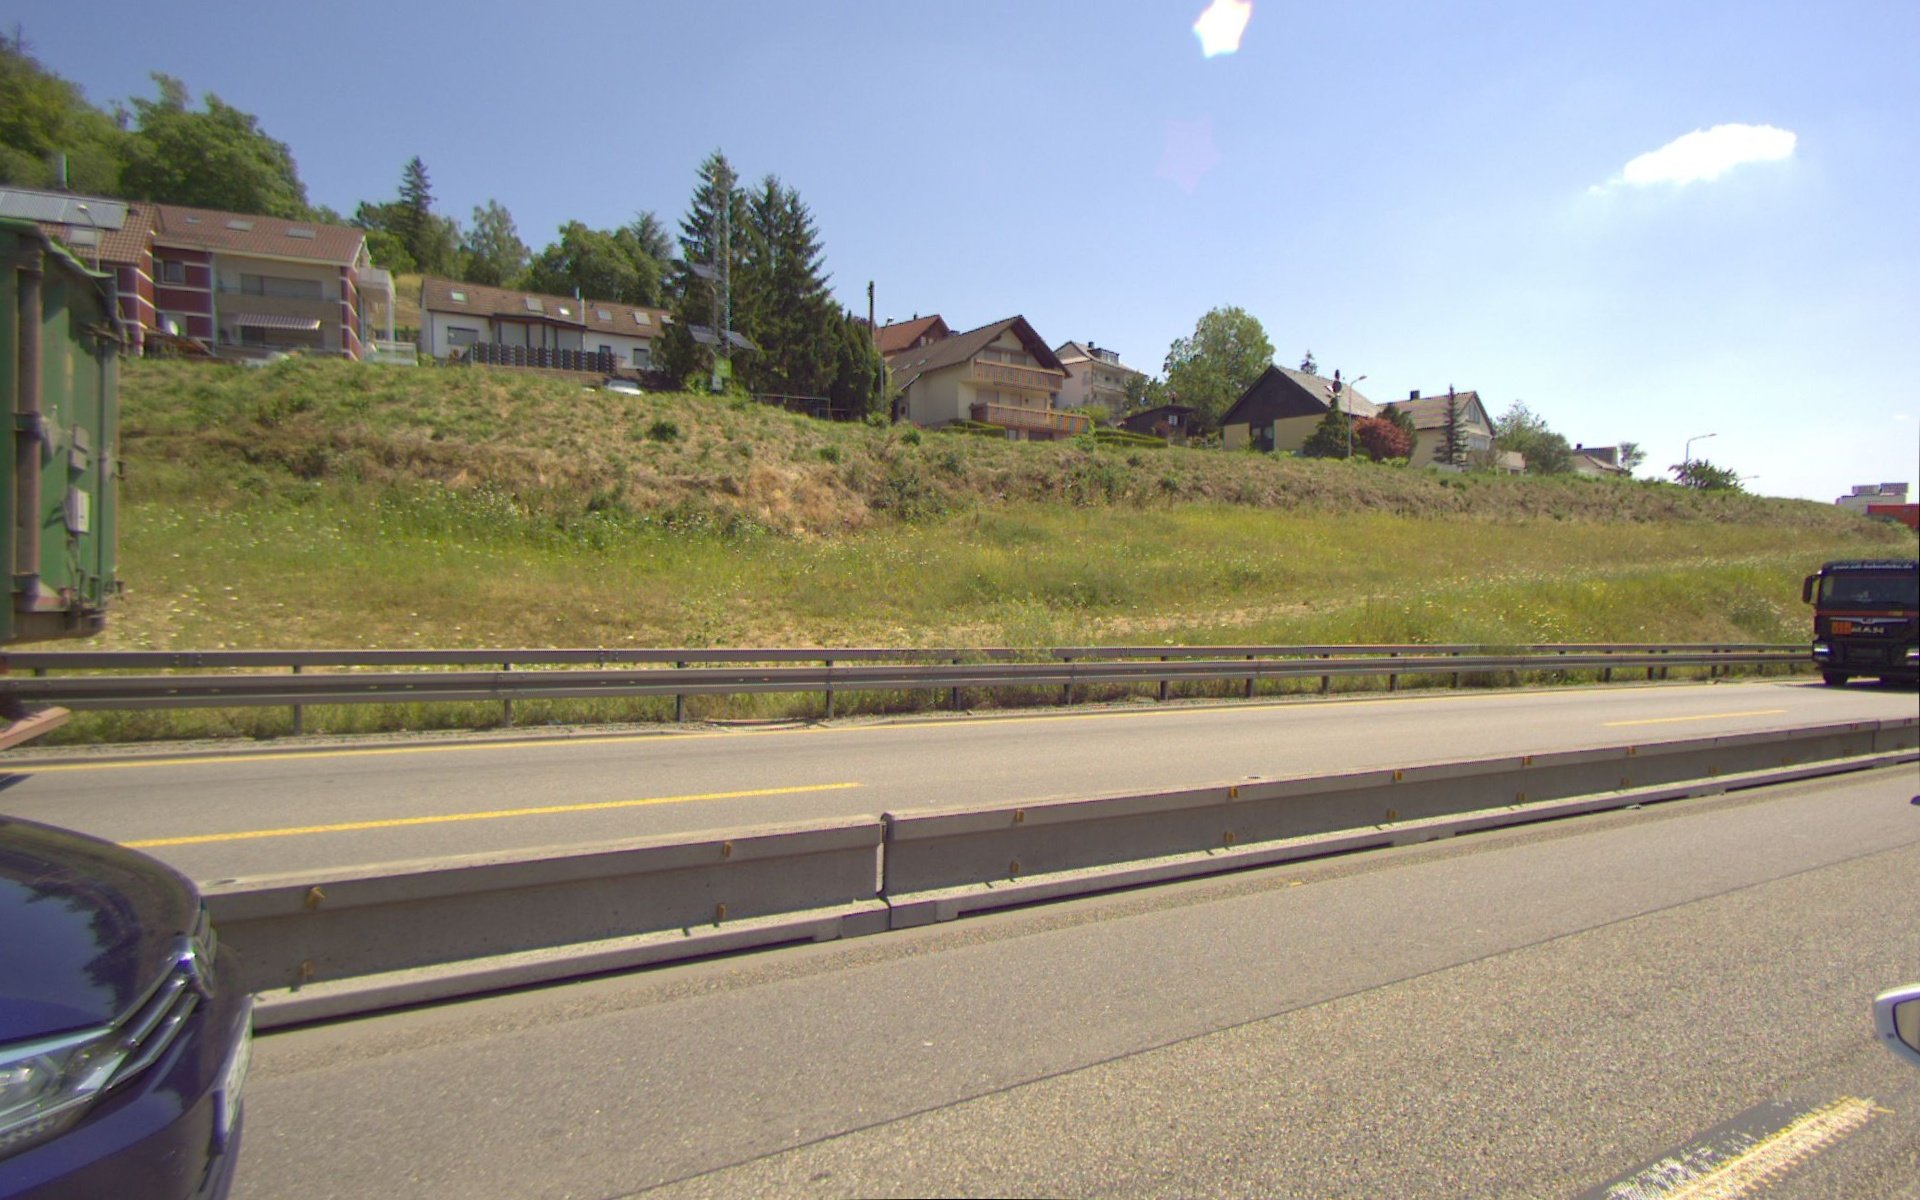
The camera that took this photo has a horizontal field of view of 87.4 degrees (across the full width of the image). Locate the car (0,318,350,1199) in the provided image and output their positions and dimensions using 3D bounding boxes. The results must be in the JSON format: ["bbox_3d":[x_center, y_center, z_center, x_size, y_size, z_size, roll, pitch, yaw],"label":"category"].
[{"bbox_3d":[-3.330,0.495,0.993,4.598,1.741,1.767,1,0,-31],"label":"car"}]

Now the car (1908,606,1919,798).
[{"bbox_3d":[10.516,0.926,8.959,4.447,1.639,1.870,2,-1,-31],"label":"car"}]

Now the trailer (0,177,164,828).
[{"bbox_3d":[-10.768,-0.694,4.901,10.405,3.991,2.898,1,0,-31],"label":"trailer"}]

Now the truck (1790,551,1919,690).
[{"bbox_3d":[25.176,0.548,26.099,8.855,3.185,2.712,1,0,-31],"label":"truck"}]
